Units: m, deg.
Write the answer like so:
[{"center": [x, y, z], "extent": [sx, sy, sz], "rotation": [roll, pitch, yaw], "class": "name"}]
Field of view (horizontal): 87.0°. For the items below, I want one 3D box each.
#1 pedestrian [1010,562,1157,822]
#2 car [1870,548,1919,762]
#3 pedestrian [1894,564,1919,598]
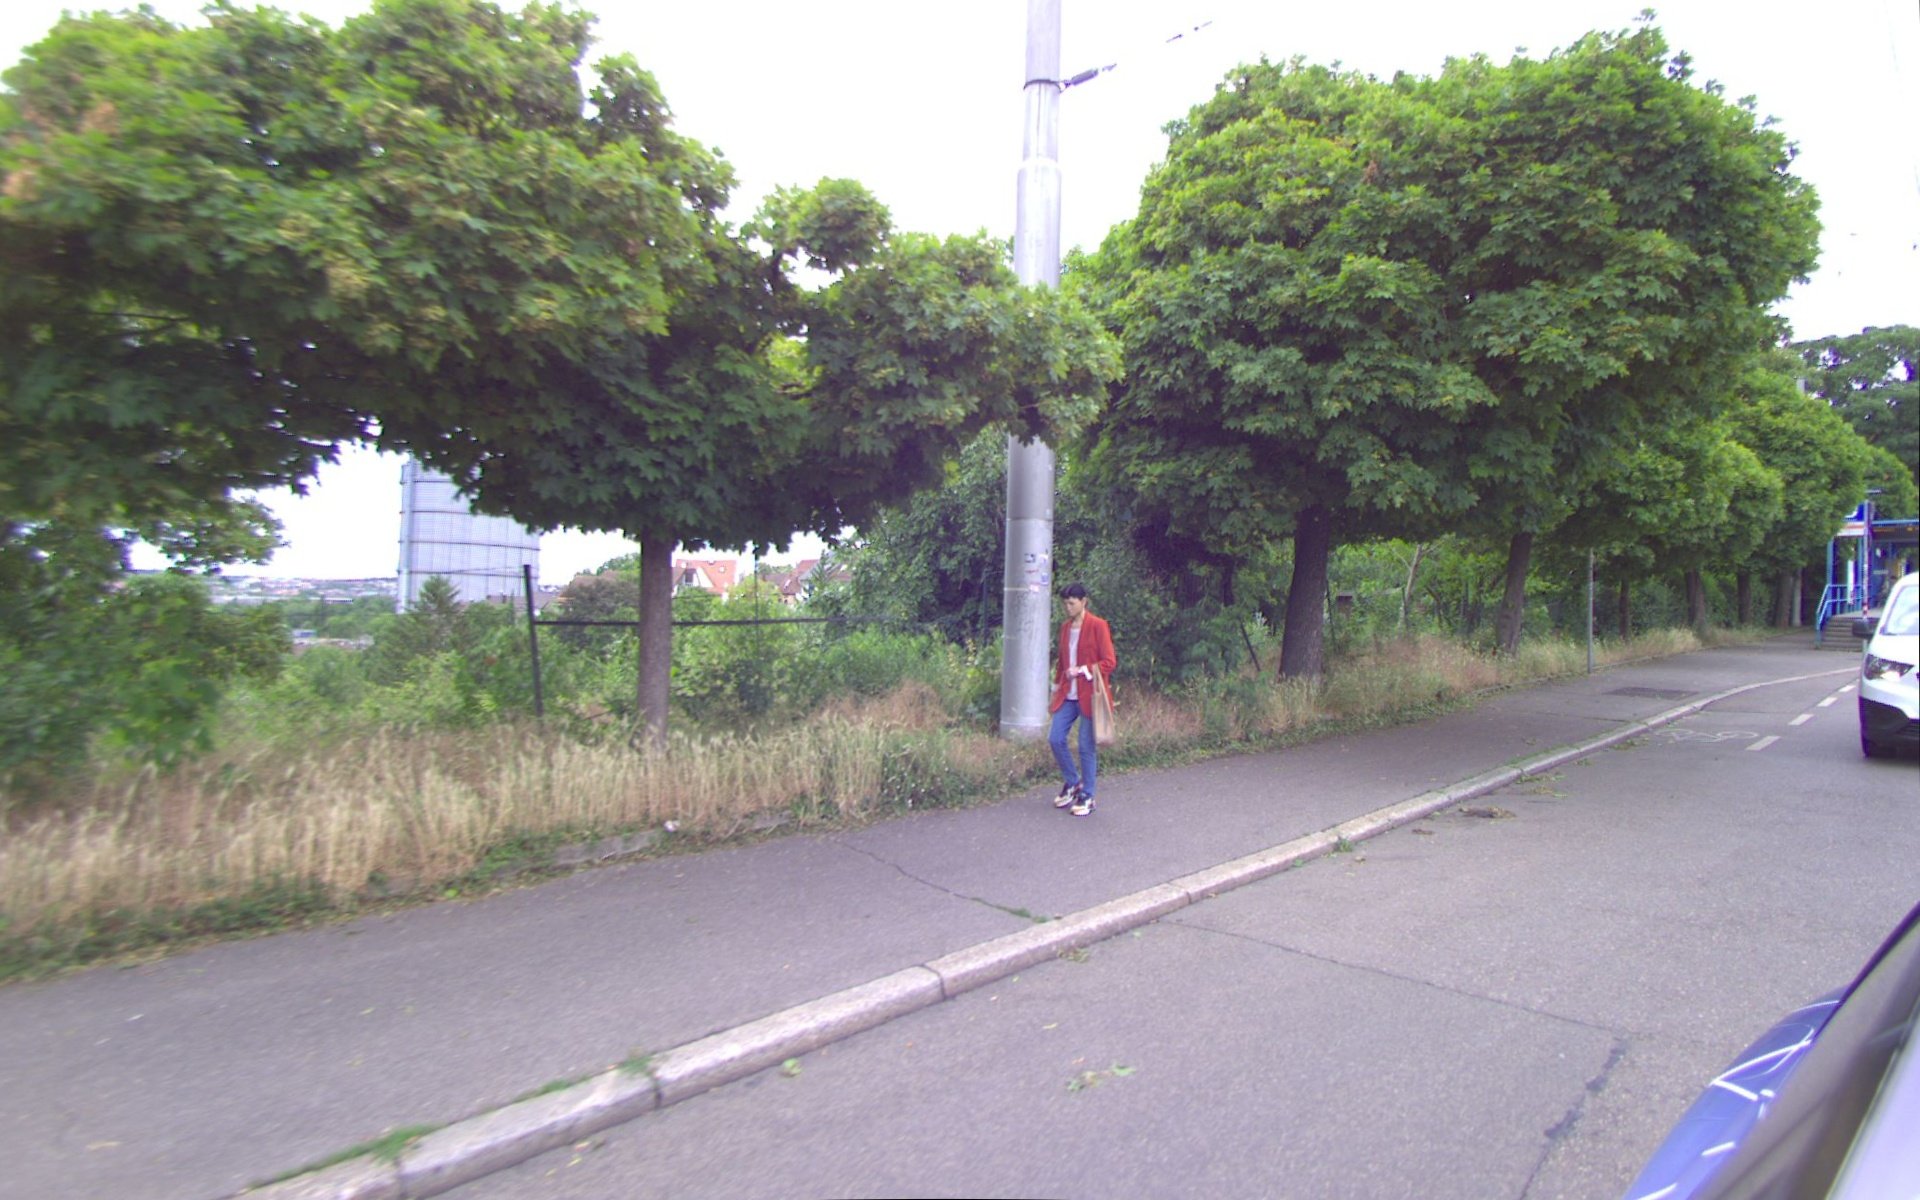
[{"center": [0.838, 0.571, 6.886], "extent": [0.706, 1.641, 0.715], "rotation": [-1, 1, -43], "class": "pedestrian"}, {"center": [10.402, 0.475, 9.980], "extent": [4.345, 1.884, 1.728], "rotation": [-1, 1, -43], "class": "car"}, {"center": [37.756, -0.746, 40.319], "extent": [0.646, 1.331, 0.780], "rotation": [-1, 1, -43], "class": "pedestrian"}]
